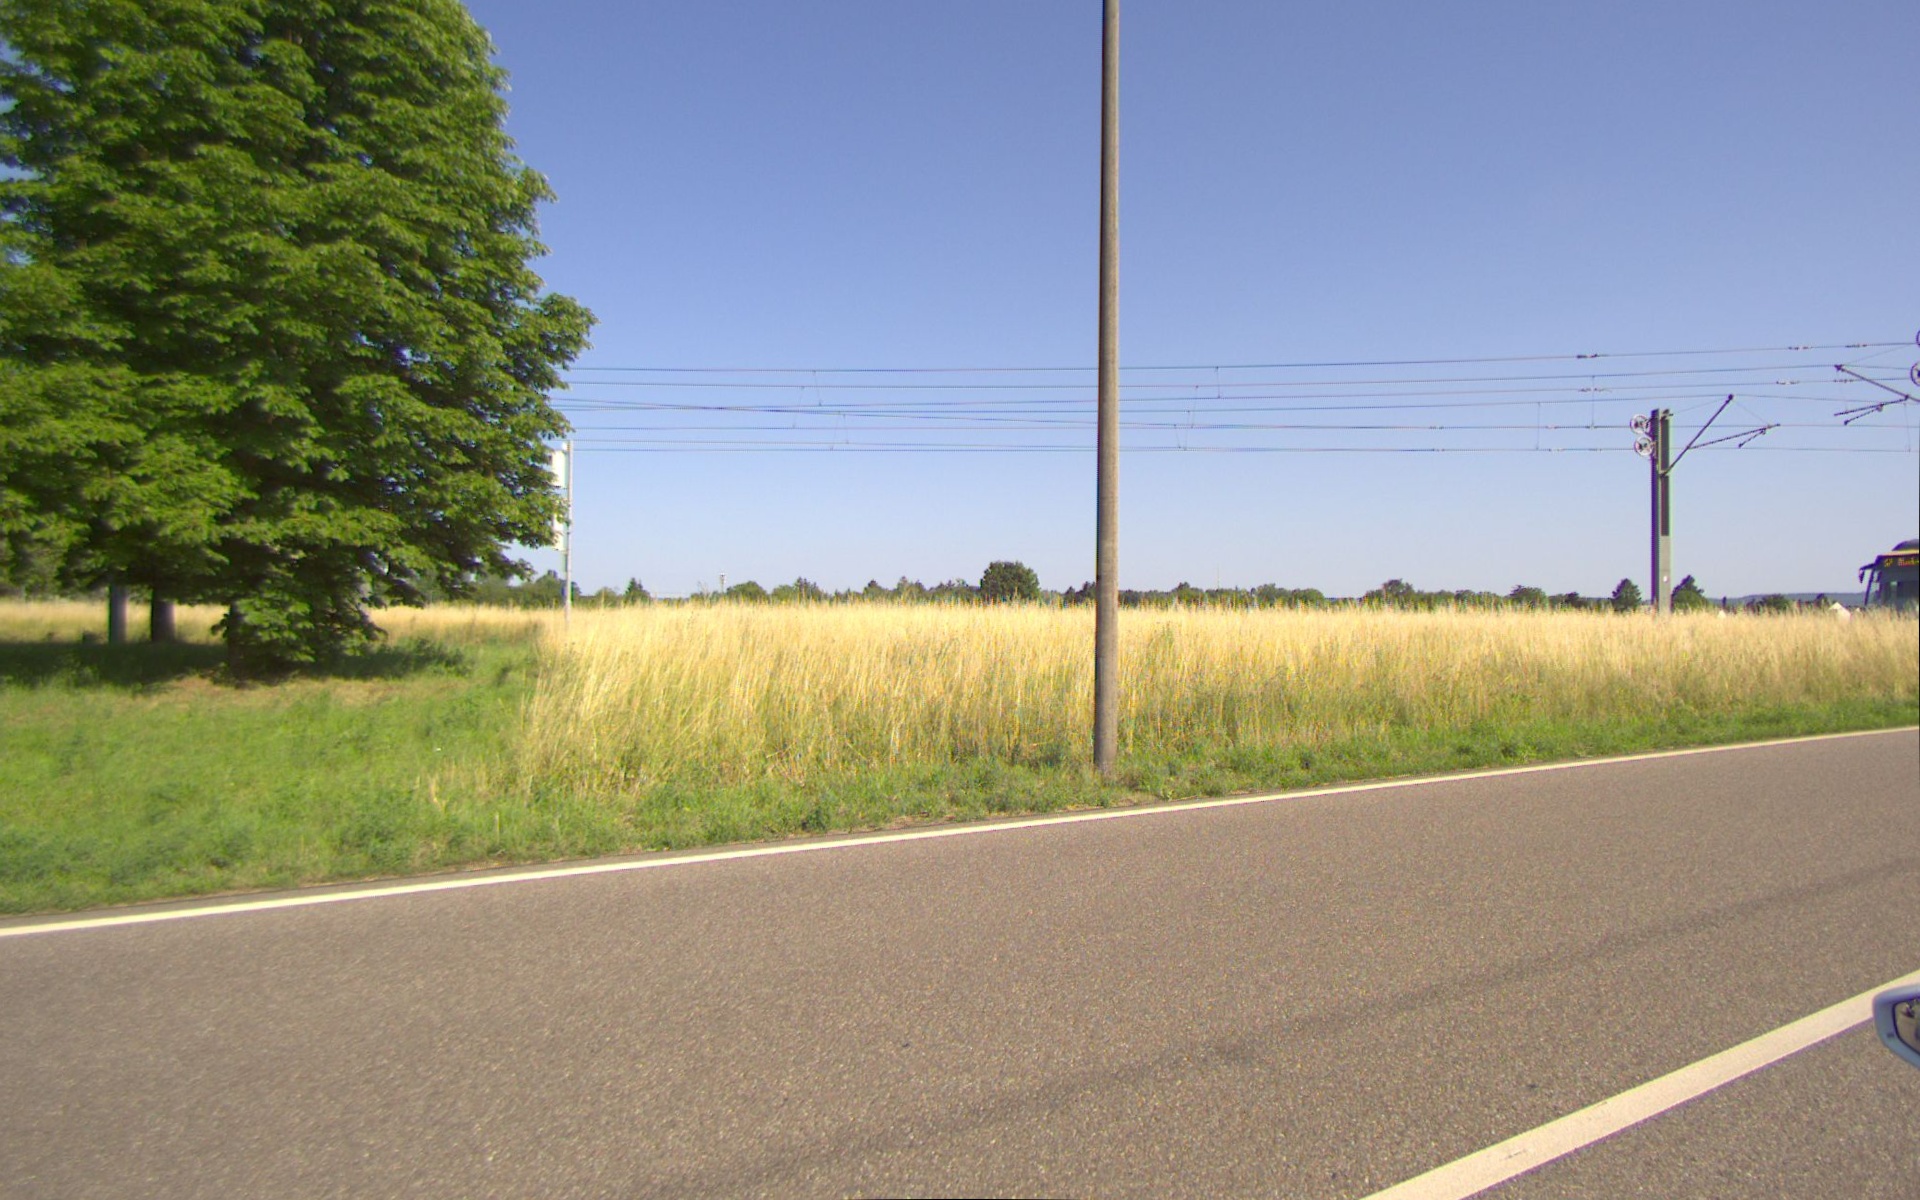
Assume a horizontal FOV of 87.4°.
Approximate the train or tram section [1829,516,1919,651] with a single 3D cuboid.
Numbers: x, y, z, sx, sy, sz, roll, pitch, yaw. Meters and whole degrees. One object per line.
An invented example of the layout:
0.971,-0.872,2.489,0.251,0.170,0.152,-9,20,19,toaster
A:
31.180,-0.345,27.727,11.926,3.531,2.959,1,0,-1,train or tram section
